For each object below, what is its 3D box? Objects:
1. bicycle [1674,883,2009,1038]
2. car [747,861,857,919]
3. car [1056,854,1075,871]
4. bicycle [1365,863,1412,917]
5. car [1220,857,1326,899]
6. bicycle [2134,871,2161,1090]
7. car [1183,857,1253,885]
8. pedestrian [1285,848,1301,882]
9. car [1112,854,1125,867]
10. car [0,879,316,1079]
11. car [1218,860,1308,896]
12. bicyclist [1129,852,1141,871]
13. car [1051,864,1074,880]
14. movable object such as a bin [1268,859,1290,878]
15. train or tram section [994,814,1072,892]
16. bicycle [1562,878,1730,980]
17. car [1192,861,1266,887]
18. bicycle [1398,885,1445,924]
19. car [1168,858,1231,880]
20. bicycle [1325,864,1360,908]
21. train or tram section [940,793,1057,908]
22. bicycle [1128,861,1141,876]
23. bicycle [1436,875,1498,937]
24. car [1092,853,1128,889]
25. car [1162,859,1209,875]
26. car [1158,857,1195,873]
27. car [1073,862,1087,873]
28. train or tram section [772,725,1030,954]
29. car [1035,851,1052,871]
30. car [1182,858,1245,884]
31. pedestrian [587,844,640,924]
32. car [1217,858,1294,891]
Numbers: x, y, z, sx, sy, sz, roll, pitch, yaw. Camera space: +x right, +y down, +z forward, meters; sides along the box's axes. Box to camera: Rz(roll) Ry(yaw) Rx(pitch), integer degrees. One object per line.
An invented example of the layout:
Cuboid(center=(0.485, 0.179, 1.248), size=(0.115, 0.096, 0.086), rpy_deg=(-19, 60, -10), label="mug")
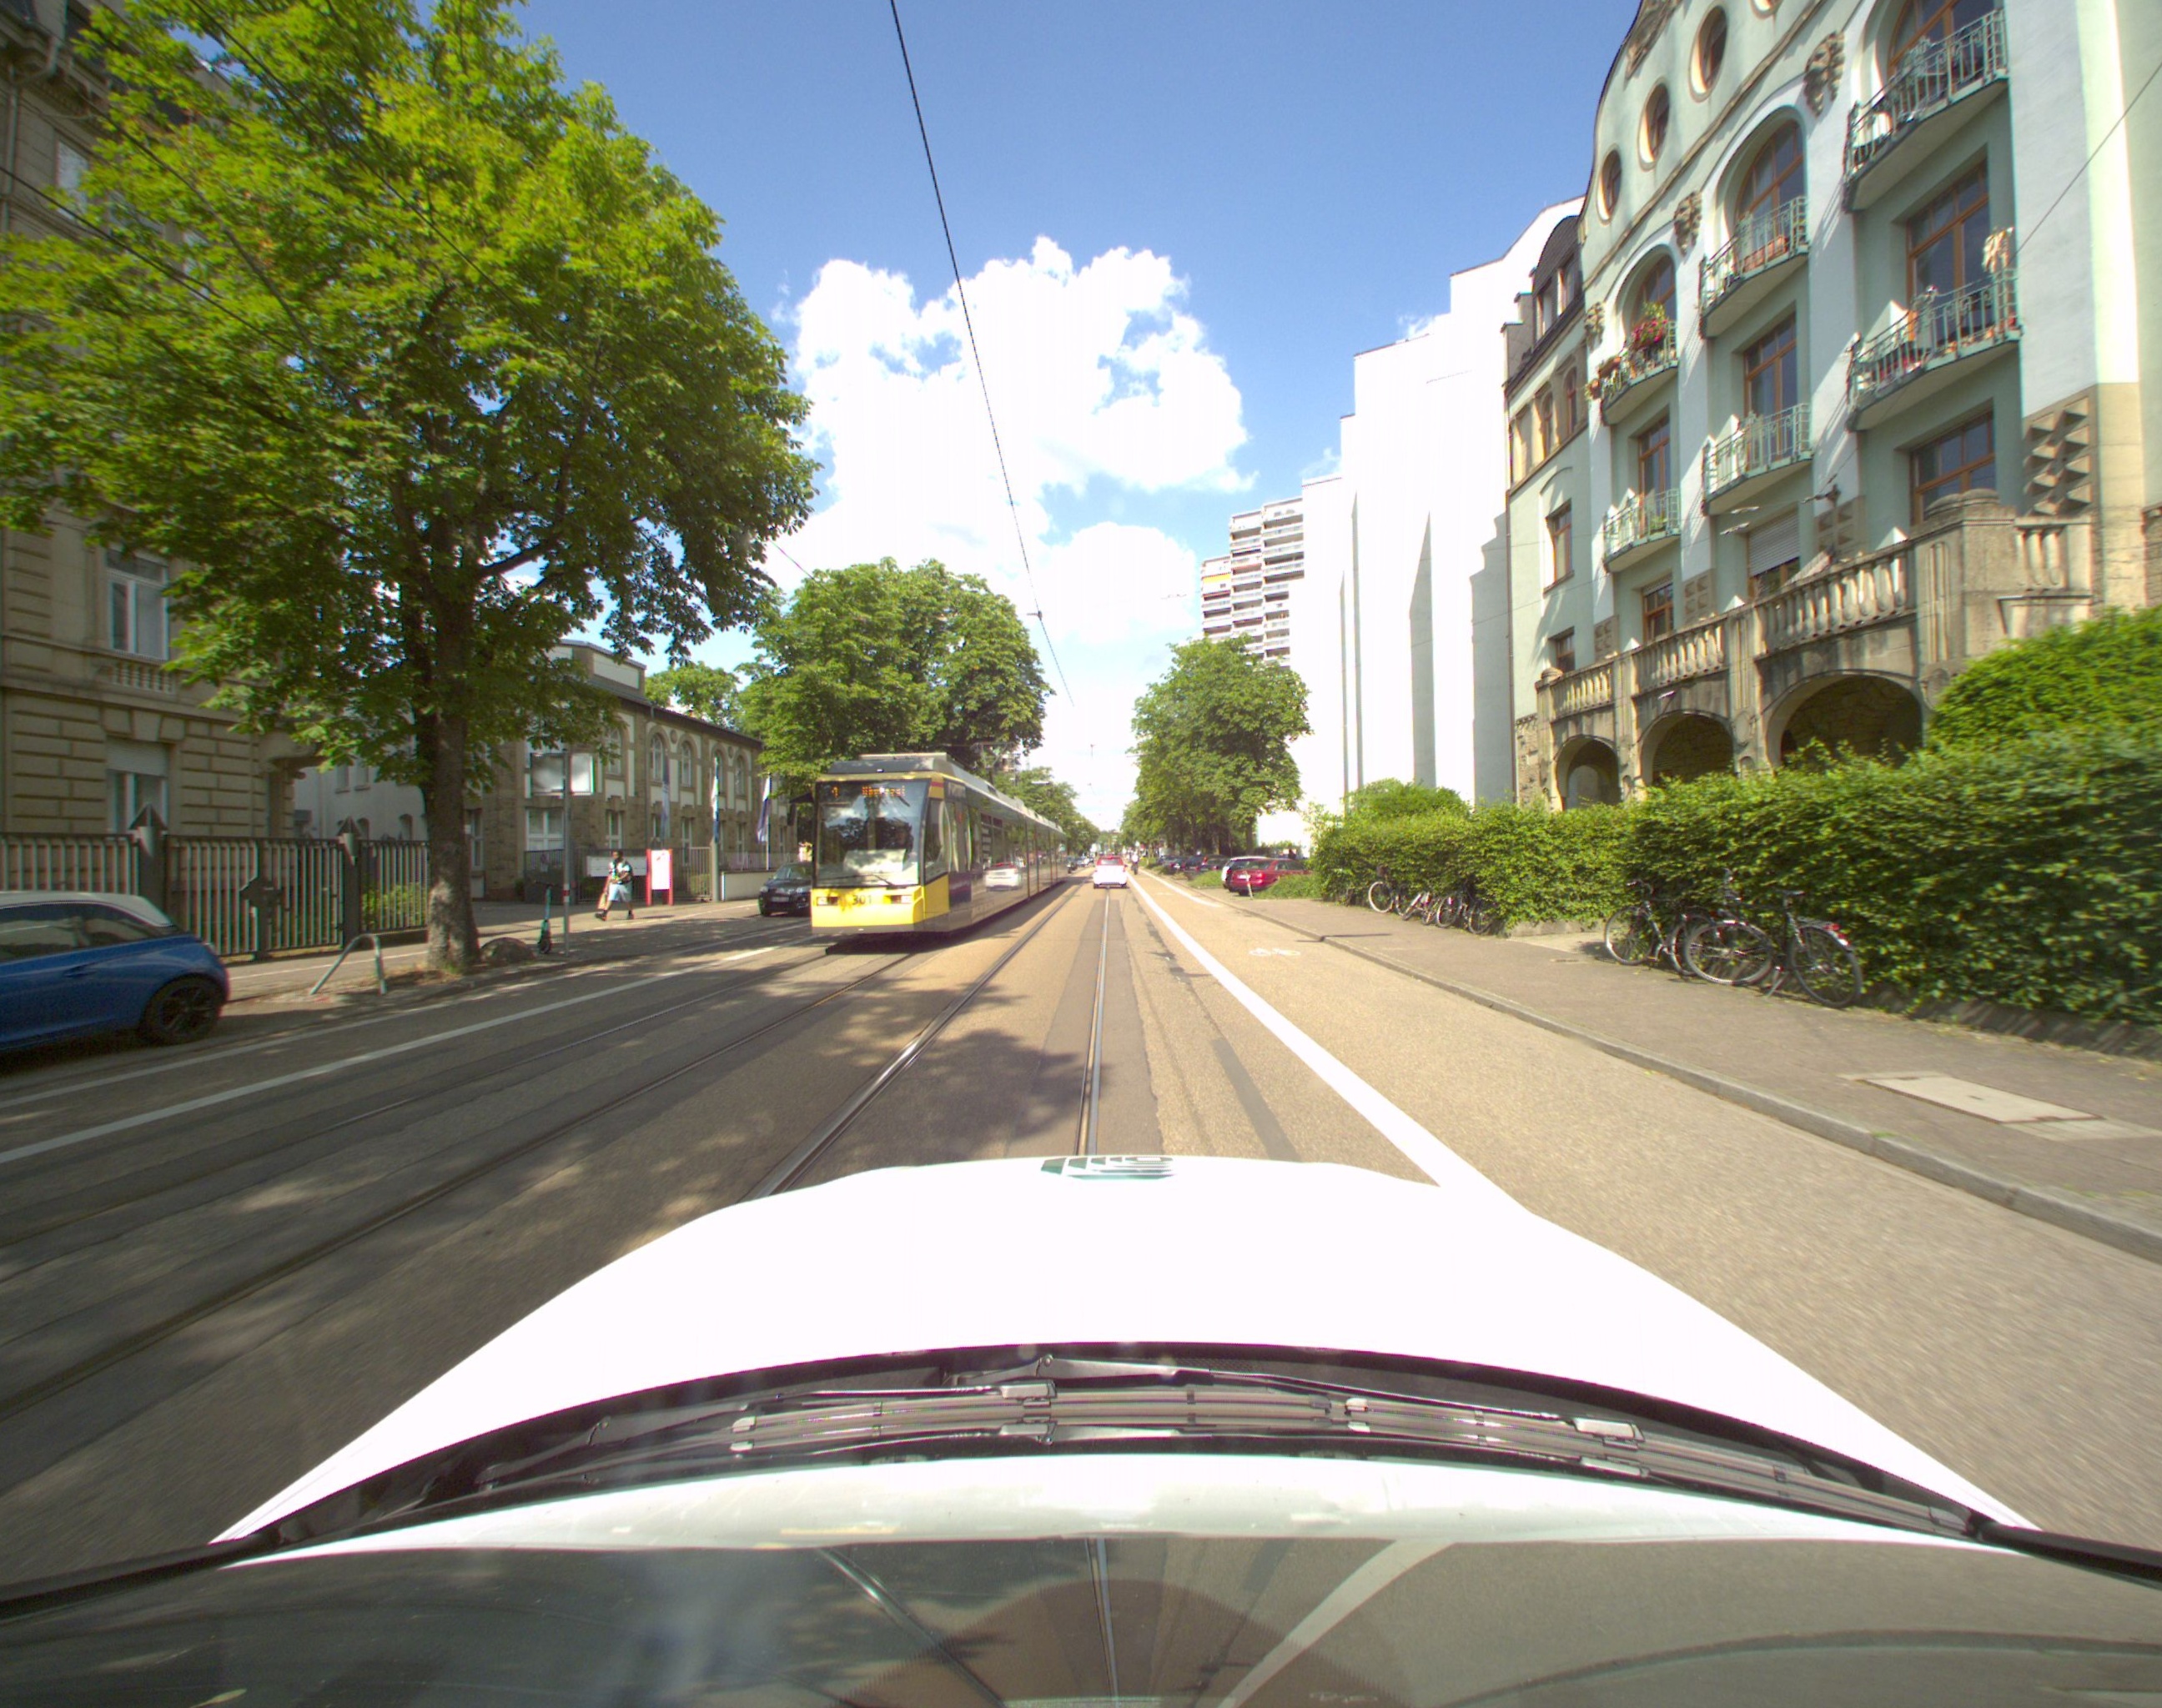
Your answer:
Cuboid(center=(6.197, 0.791, 6.897), size=(0.608, 0.996, 2.363), rpy_deg=(-4, -1, 1), label="bicycle")
Cuboid(center=(-8.533, 1.048, 25.348), size=(1.800, 1.641, 4.333), rpy_deg=(1, -1, 1), label="car")
Cuboid(center=(-1.566, 0.878, 85.400), size=(1.819, 1.727, 4.392), rpy_deg=(1, -1, 1), label="car")
Cuboid(center=(6.812, 0.775, 18.118), size=(0.278, 1.109, 2.011), rpy_deg=(-4, -1, 2), label="bicycle")
Cuboid(center=(7.431, 0.888, 31.388), size=(4.182, 1.423, 1.844), rpy_deg=(-1, -1, -41), label="car")
Cuboid(center=(6.417, 0.693, 3.422), size=(0.737, 1.231, 2.517), rpy_deg=(-1, -1, 1), label="bicycle")
Cuboid(center=(8.013, 0.990, 47.601), size=(4.020, 1.575, 1.883), rpy_deg=(1, -1, -40), label="car")
Cuboid(center=(11.960, 0.631, 46.017), size=(0.756, 1.873, 1.004), rpy_deg=(-1, -1, 7), label="pedestrian")
Cuboid(center=(4.754, 0.814, 103.797), size=(1.659, 1.624, 3.622), rpy_deg=(-1, 0, 2), label="car")
Cuboid(center=(-9.190, 0.997, 6.929), size=(1.648, 1.485, 3.809), rpy_deg=(1, -1, 1), label="car")
Cuboid(center=(7.768, 0.985, 34.555), size=(4.021, 1.448, 1.679), rpy_deg=(0, -1, -41), label="car")
Cuboid(center=(4.270, 0.596, 64.586), size=(0.885, 1.529, 1.087), rpy_deg=(1, -1, 8), label="bicyclist")
Cuboid(center=(-1.633, 1.573, 72.294), size=(1.792, 1.388, 4.427), rpy_deg=(-1, 0, 2), label="car")
Cuboid(center=(13.883, 1.001, 57.273), size=(1.270, 1.318, 1.326), rpy_deg=(0, -1, 2), label="movable object such as a bin")
Cuboid(center=(-2.206, 0.042, 43.358), size=(2.642, 3.356, 14.115), rpy_deg=(-3, -1, 2), label="train or tram section")
Cuboid(center=(6.354, 0.795, 9.295), size=(0.610, 0.989, 1.873), rpy_deg=(-3, -1, 1), label="bicycle")
Cuboid(center=(8.155, 1.081, 44.658), size=(4.199, 1.349, 1.882), rpy_deg=(1, -1, -43), label="car")
Cuboid(center=(6.755, 0.995, 16.204), size=(0.278, 0.677, 1.560), rpy_deg=(-4, -1, 2), label="bicycle")
Cuboid(center=(8.423, 1.074, 57.543), size=(4.561, 1.442, 2.007), rpy_deg=(2, -1, -44), label="car")
Cuboid(center=(6.924, 0.818, 21.636), size=(0.278, 1.109, 2.011), rpy_deg=(-4, -1, 2), label="bicycle")
Cuboid(center=(-2.694, -0.044, 30.644), size=(2.642, 3.389, 11.478), rpy_deg=(-3, -1, 2), label="train or tram section")
Cuboid(center=(4.223, 1.160, 64.334), size=(0.870, 1.126, 2.141), rpy_deg=(1, -1, 8), label="bicycle")
Cuboid(center=(6.624, 0.870, 14.053), size=(0.272, 0.907, 1.669), rpy_deg=(-4, 1, 2), label="bicycle")
Cuboid(center=(1.423, 0.802, 39.530), size=(1.659, 1.624, 3.622), rpy_deg=(1, 0, 2), label="car")
Cuboid(center=(9.557, 1.147, 74.082), size=(4.262, 1.420, 1.705), rpy_deg=(0, 0, -36), label="car")
Cuboid(center=(9.844, 1.135, 83.908), size=(4.023, 1.486, 1.596), rpy_deg=(-1, -1, -44), label="car")
Cuboid(center=(-0.148, 1.936, 116.036), size=(1.767, 1.416, 3.853), rpy_deg=(-3, -1, 1), label="car")
Cuboid(center=(-3.185, -0.155, 18.793), size=(2.642, 3.436, 12.320), rpy_deg=(-3, -1, 2), label="train or tram section")
Cuboid(center=(-5.128, 0.941, 111.422), size=(1.762, 2.639, 5.324), rpy_deg=(1, -1, 2), label="car")
Cuboid(center=(8.319, 1.029, 50.969), size=(4.098, 1.443, 1.705), rpy_deg=(-1, 2, -43), label="car")
Cuboid(center=(-12.102, 0.770, 21.110), size=(0.821, 2.014, 0.826), rpy_deg=(1, -1, 1), label="pedestrian")
Cuboid(center=(8.163, 0.900, 37.940), size=(4.023, 1.461, 1.517), rpy_deg=(0, -1, -44), label="car")
